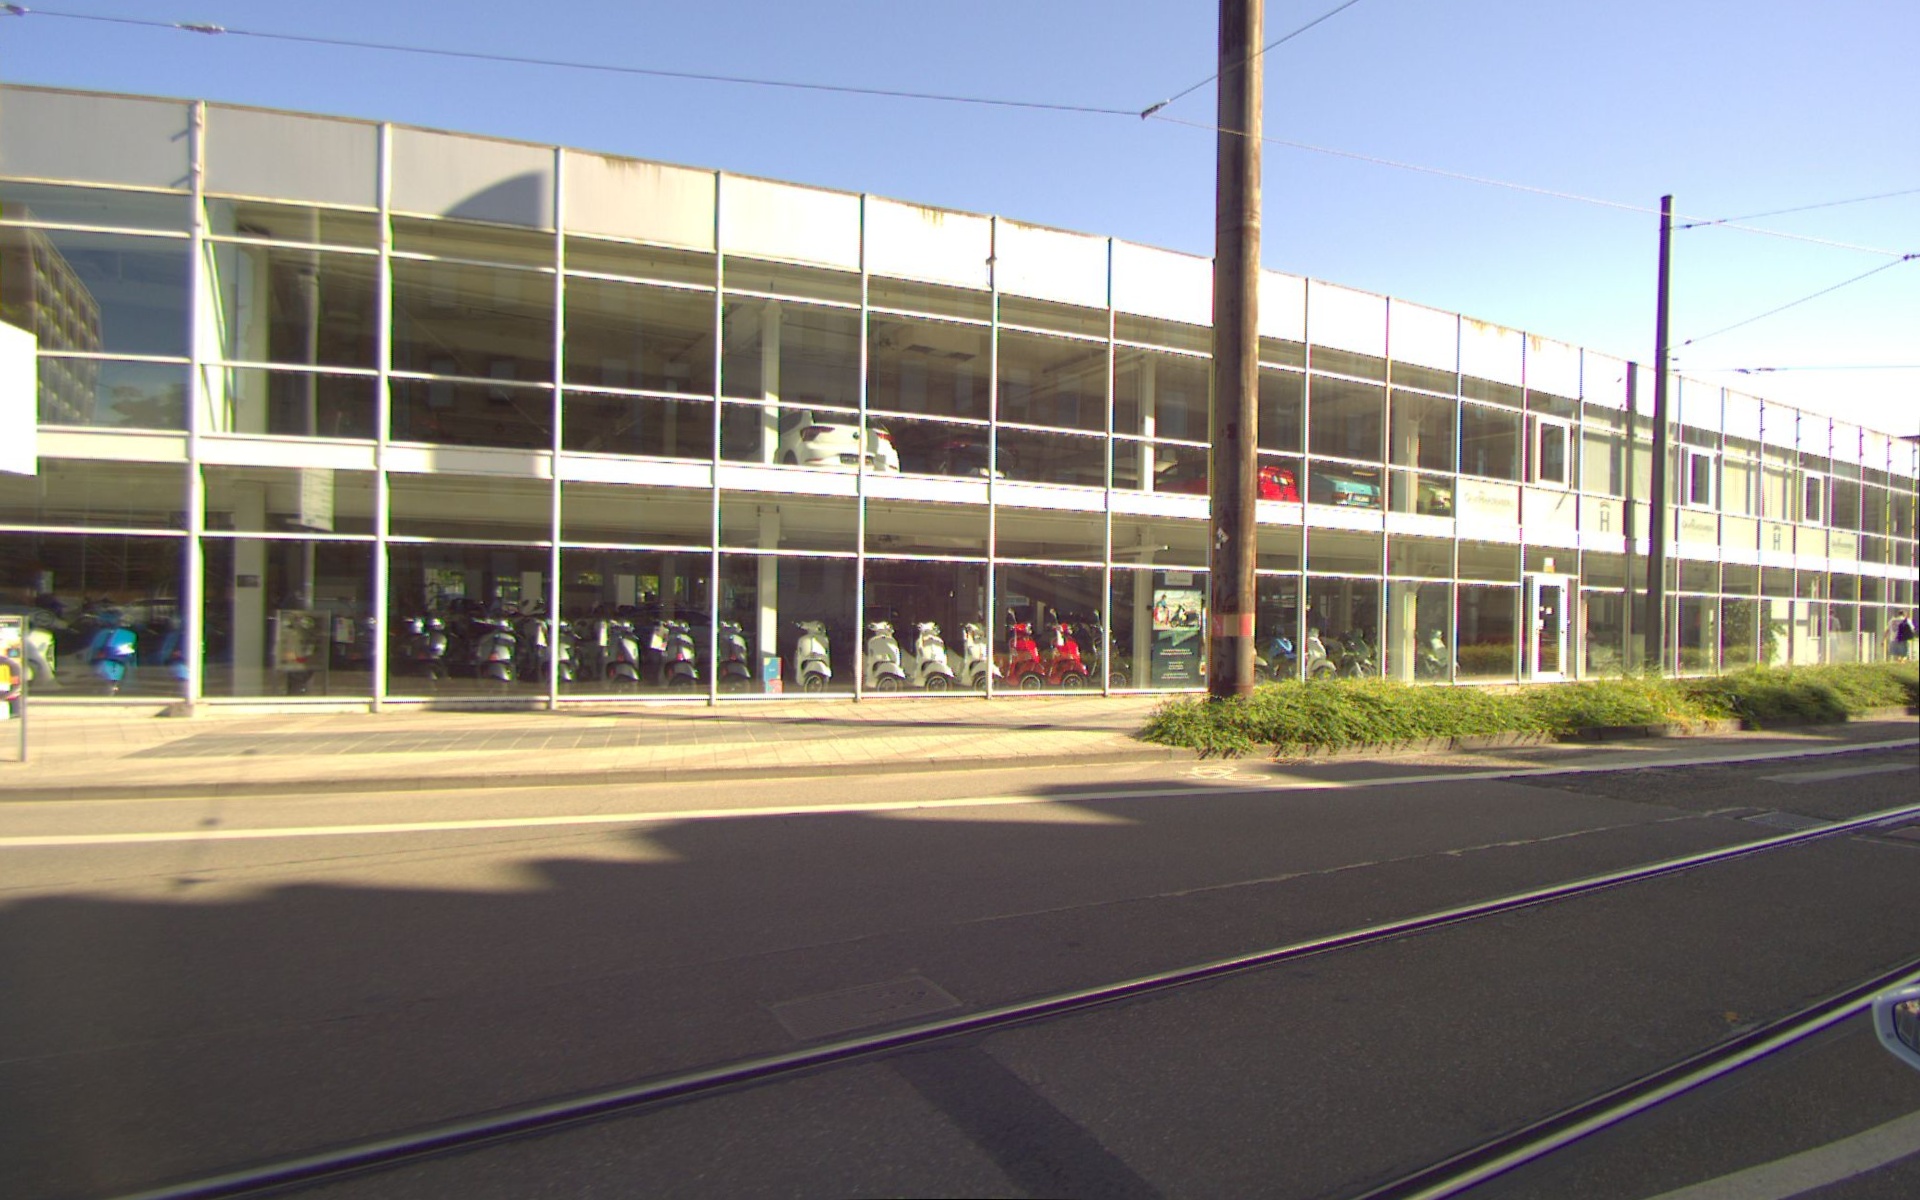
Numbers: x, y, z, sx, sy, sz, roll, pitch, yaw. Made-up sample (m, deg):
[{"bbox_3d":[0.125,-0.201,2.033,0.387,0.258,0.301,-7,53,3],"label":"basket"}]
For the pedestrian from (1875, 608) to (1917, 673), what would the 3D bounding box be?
[{"bbox_3d":[26.646,1.157,28.589,1.039,1.788,0.524,2,1,-31],"label":"pedestrian"}]
